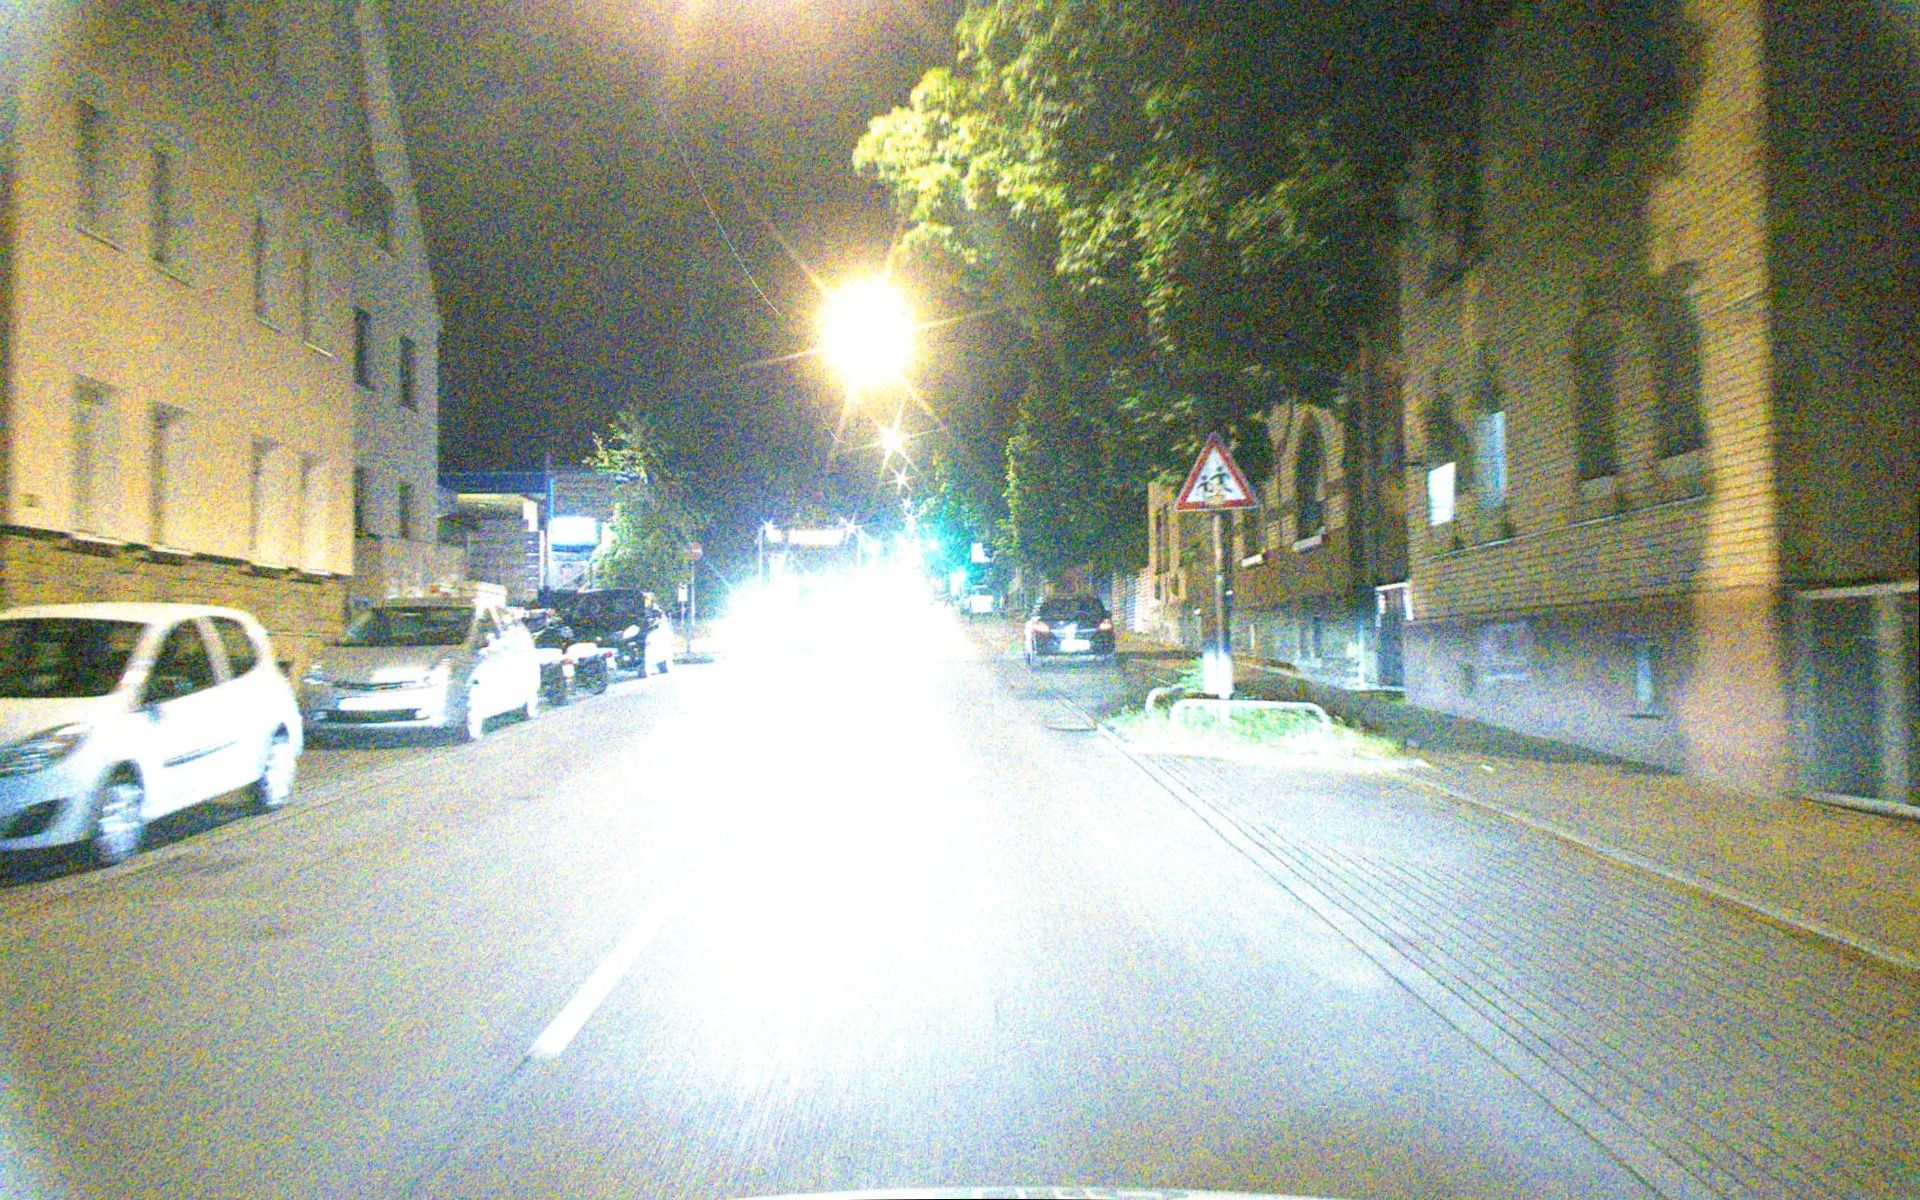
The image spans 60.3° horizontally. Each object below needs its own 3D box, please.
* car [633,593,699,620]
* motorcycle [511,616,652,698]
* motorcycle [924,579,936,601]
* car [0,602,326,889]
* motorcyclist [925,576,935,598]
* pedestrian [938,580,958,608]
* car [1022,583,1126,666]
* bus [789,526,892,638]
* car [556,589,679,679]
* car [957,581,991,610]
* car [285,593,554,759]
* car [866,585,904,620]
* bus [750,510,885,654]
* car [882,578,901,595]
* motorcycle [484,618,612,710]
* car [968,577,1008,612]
[{"bbox_3d":[-16.219,0.380,91.193,3.197,1.478,1.790,0,-1,31],"label":"car"},{"bbox_3d":[-5.644,0.832,24.616,2.162,1.150,0.714,-1,1,32],"label":"motorcycle"},{"bbox_3d":[-2.448,-0.828,134.590,0.912,1.783,2.624,0,0,-1],"label":"motorcycle"},{"bbox_3d":[-5.537,0.781,10.617,1.589,1.518,3.779,0,0,-2],"label":"car"},{"bbox_3d":[-2.451,-1.035,134.599,0.831,1.783,0.805,0,-1,-1],"label":"motorcyclist"},{"bbox_3d":[-0.768,-0.408,105.581,0.915,1.729,0.758,2,1,-34],"label":"pedestrian"},{"bbox_3d":[2.261,0.448,33.801,1.727,1.501,4.080,-3,1,-1],"label":"car"},{"bbox_3d":[-3.614,-0.570,51.722,2.780,3.233,7.660,0,1,-1],"label":"bus"},{"bbox_3d":[-6.132,0.596,29.835,1.605,1.524,2.765,-1,0,0],"label":"car"},{"bbox_3d":[0.801,-0.264,95.944,1.831,1.553,4.149,-2,1,-1],"label":"car"},{"bbox_3d":[-5.808,0.735,18.326,1.670,1.517,4.226,-2,1,-2],"label":"car"},{"bbox_3d":[-3.369,0.091,74.364,1.612,1.447,3.869,-2,1,-2],"label":"car"},{"bbox_3d":[-3.464,-0.473,42.624,2.780,3.233,10.496,0,1,-1],"label":"bus"},{"bbox_3d":[-7.197,-1.399,173.754,1.905,1.747,3.999,0,0,-1],"label":"car"},{"bbox_3d":[-5.654,0.840,22.597,0.710,1.167,2.174,-2,1,-43],"label":"motorcycle"},{"bbox_3d":[1.391,-0.291,82.489,1.775,1.621,4.273,-2,1,-1],"label":"car"}]
